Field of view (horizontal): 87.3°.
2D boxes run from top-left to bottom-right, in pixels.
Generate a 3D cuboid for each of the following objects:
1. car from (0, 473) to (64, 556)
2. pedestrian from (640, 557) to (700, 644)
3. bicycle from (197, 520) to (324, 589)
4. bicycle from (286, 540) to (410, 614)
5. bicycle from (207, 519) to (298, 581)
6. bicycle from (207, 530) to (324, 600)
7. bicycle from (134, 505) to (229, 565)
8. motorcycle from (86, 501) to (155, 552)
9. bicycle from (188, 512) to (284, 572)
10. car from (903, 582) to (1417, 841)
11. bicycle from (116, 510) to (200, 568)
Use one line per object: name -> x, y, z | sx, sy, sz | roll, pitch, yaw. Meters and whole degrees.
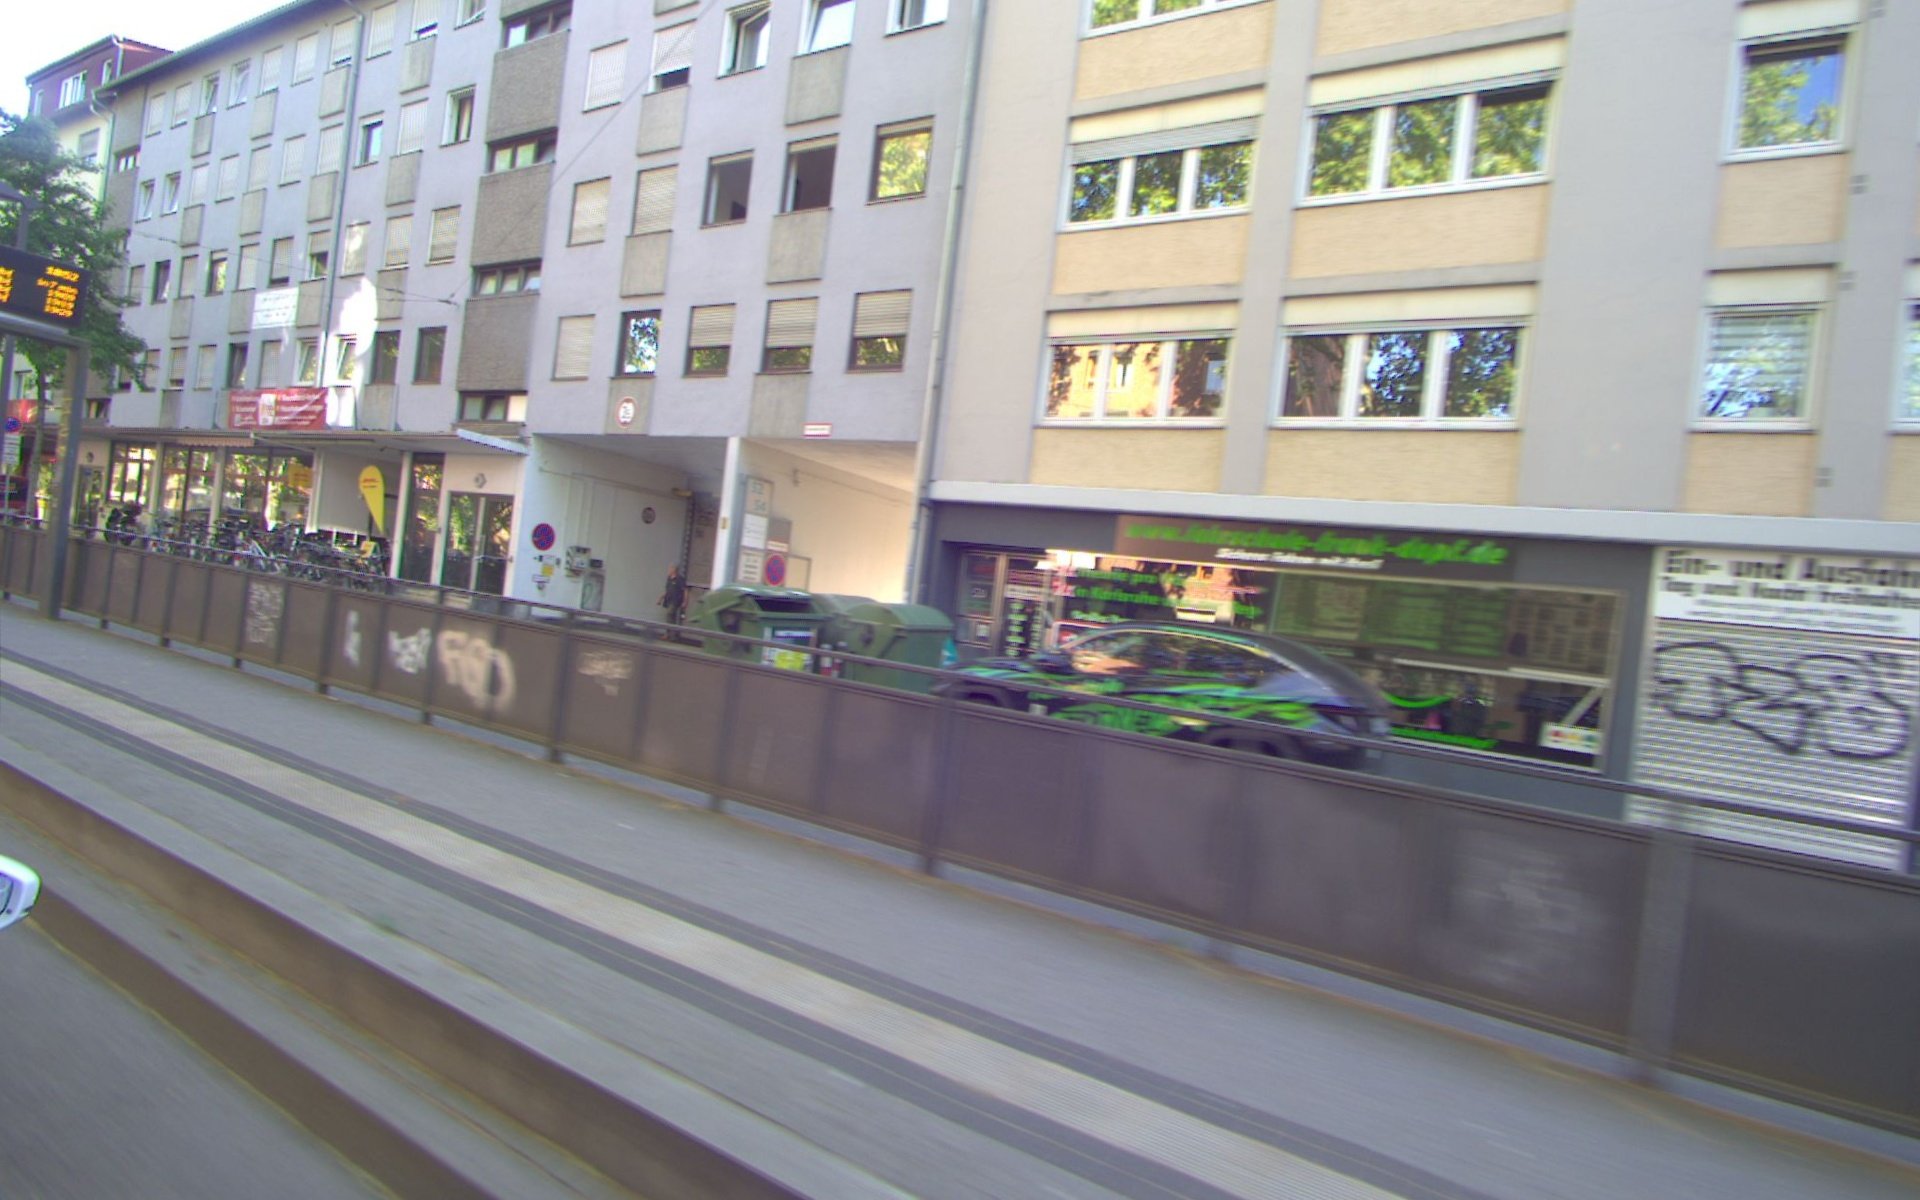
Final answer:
car -> -26.376, -2.444, 27.194 | 3.933, 1.975, 1.997 | 6, -2, 31
pedestrian -> -6.463, 0.020, 22.430 | 0.805, 1.792, 0.719 | 7, 0, 32
bicycle -> -15.034, -0.987, 21.604 | 2.867, 1.149, 0.613 | 7, -1, 20
bicycle -> -11.978, -0.452, 19.690 | 2.394, 1.149, 0.623 | 7, -1, 20
bicycle -> -15.832, -1.122, 22.488 | 2.163, 1.149, 0.411 | 7, -1, 20
bicycle -> -14.223, -0.728, 20.594 | 2.389, 1.149, 0.604 | 7, -1, 20
bicycle -> -18.076, -1.511, 23.355 | 2.163, 1.149, 0.599 | 7, -1, 20
motorcycle -> -25.320, -2.225, 30.340 | 2.009, 1.295, 0.893 | 6, -1, 32
bicycle -> -16.873, -1.351, 23.438 | 2.163, 1.149, 0.599 | 7, -1, 20
car -> 1.827, 0.918, 9.632 | 4.325, 1.634, 1.860 | 6, -2, 32
bicycle -> -19.222, -1.463, 24.109 | 2.165, 1.149, 0.599 | 7, -1, 26
